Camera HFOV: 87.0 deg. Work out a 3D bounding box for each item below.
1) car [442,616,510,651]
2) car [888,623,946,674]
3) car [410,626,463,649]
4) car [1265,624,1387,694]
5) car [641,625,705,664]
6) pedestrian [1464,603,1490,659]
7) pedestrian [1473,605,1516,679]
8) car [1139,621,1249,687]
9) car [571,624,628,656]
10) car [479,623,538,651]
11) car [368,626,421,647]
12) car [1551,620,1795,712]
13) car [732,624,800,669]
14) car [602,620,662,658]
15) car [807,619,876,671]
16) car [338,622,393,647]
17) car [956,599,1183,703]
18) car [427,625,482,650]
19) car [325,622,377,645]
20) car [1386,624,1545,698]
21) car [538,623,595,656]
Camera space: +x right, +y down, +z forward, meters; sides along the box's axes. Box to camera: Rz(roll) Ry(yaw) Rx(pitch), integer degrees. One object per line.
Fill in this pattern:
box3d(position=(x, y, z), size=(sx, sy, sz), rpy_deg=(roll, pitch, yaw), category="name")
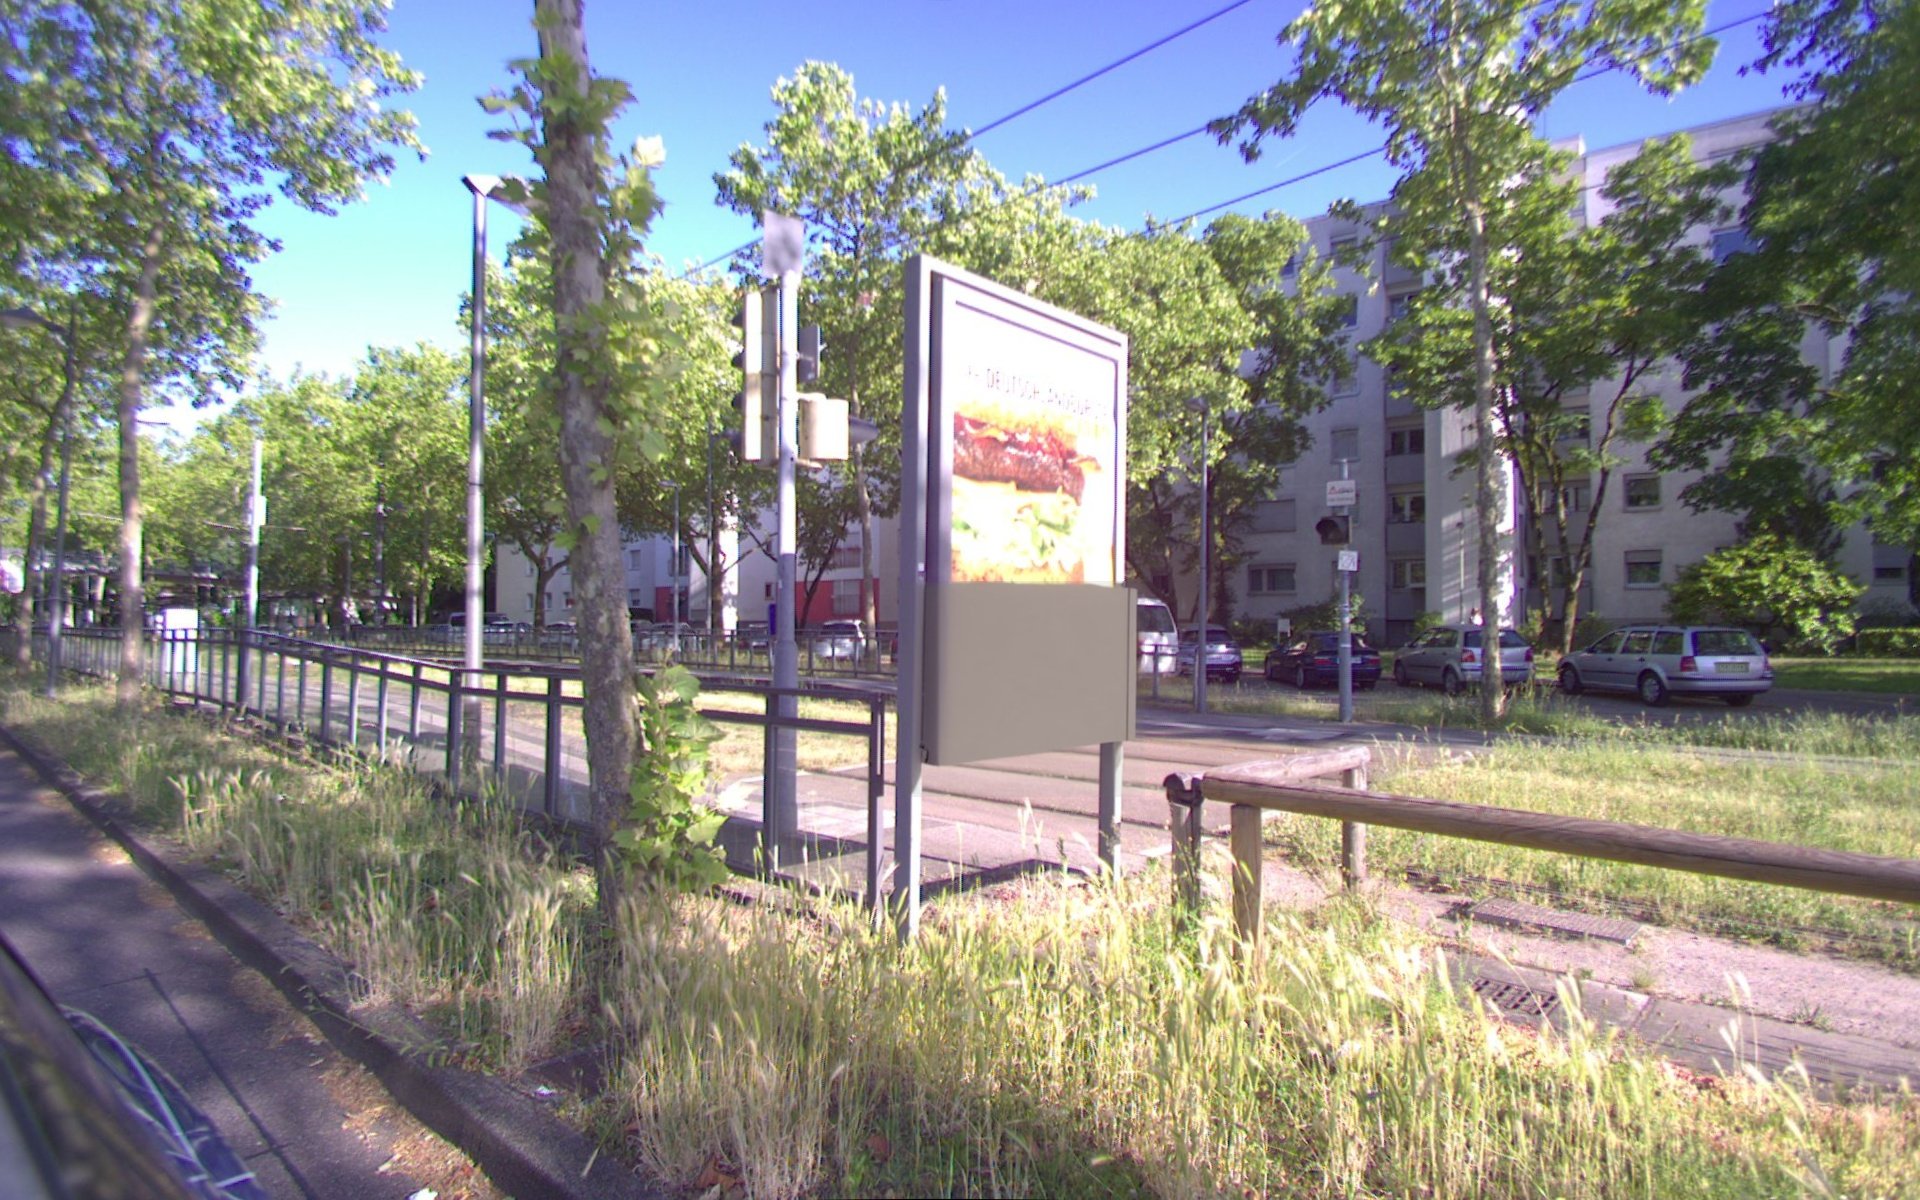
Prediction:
box3d(position=(-26.623, 1.824, 55.818), size=(1.843, 1.826, 4.048), rpy_deg=(0, -1, -1), category="car")
box3d(position=(-1.351, 1.544, 33.103), size=(1.538, 1.439, 3.761), rpy_deg=(-1, 0, 3), category="car")
box3d(position=(-31.329, 2.214, 60.670), size=(1.459, 1.311, 3.487), rpy_deg=(0, -1, -1), category="car")
box3d(position=(8.468, 1.317, 23.754), size=(1.572, 1.360, 3.922), rpy_deg=(-1, 0, 3), category="car")
box3d(position=(-12.172, 1.862, 43.138), size=(1.470, 1.425, 3.880), rpy_deg=(-1, 0, 3), category="car")
box3d(position=(16.626, 1.000, 32.530), size=(0.634, 1.770, 0.516), rpy_deg=(-1, -2, 39), category="pedestrian")
box3d(position=(13.014, 1.009, 24.638), size=(0.755, 1.770, 0.752), rpy_deg=(-2, -2, 42), category="pedestrian")
box3d(position=(5.950, 1.336, 26.219), size=(1.650, 1.469, 4.004), rpy_deg=(-1, 0, -4), category="car")
box3d(position=(-16.972, 1.855, 47.809), size=(1.459, 1.339, 3.488), rpy_deg=(-2, 0, -1), category="car")
box3d(position=(-24.054, 1.967, 54.030), size=(1.605, 1.414, 3.487), rpy_deg=(0, -1, -1), category="car")
box3d(position=(-36.013, 2.309, 64.556), size=(1.459, 1.330, 3.487), rpy_deg=(0, -1, -1), category="car")
box3d(position=(13.254, 1.158, 19.151), size=(1.685, 1.454, 3.978), rpy_deg=(-1, 0, -1), category="car")
box3d(position=(-7.241, 1.706, 38.101), size=(1.609, 1.499, 3.997), rpy_deg=(-1, 0, 3), category="car")
box3d(position=(-14.742, 1.724, 45.630), size=(1.445, 1.519, 3.393), rpy_deg=(-1, 0, 3), category="car")
box3d(position=(-4.101, 1.522, 35.620), size=(1.791, 1.607, 3.997), rpy_deg=(-1, 0, 3), category="car")
box3d(position=(-39.060, 2.223, 66.575), size=(1.578, 1.582, 3.830), rpy_deg=(0, -1, -3), category="car")
box3d(position=(2.254, 1.039, 21.724), size=(4.649, 2.007, 1.773), rpy_deg=(-1, -2, 41), category="car")
box3d(position=(-28.911, 2.108, 57.961), size=(1.459, 1.354, 3.487), rpy_deg=(0, -1, -1), category="car")
box3d(position=(-42.853, 2.340, 71.279), size=(1.578, 1.538, 3.737), rpy_deg=(0, -1, -3), category="car")
box3d(position=(10.844, 1.259, 21.997), size=(1.553, 1.431, 3.620), rpy_deg=(-1, -1, -1), category="car")
box3d(position=(-19.269, 1.912, 49.692), size=(1.539, 1.436, 3.489), rpy_deg=(-3, 0, -2), category="car")
